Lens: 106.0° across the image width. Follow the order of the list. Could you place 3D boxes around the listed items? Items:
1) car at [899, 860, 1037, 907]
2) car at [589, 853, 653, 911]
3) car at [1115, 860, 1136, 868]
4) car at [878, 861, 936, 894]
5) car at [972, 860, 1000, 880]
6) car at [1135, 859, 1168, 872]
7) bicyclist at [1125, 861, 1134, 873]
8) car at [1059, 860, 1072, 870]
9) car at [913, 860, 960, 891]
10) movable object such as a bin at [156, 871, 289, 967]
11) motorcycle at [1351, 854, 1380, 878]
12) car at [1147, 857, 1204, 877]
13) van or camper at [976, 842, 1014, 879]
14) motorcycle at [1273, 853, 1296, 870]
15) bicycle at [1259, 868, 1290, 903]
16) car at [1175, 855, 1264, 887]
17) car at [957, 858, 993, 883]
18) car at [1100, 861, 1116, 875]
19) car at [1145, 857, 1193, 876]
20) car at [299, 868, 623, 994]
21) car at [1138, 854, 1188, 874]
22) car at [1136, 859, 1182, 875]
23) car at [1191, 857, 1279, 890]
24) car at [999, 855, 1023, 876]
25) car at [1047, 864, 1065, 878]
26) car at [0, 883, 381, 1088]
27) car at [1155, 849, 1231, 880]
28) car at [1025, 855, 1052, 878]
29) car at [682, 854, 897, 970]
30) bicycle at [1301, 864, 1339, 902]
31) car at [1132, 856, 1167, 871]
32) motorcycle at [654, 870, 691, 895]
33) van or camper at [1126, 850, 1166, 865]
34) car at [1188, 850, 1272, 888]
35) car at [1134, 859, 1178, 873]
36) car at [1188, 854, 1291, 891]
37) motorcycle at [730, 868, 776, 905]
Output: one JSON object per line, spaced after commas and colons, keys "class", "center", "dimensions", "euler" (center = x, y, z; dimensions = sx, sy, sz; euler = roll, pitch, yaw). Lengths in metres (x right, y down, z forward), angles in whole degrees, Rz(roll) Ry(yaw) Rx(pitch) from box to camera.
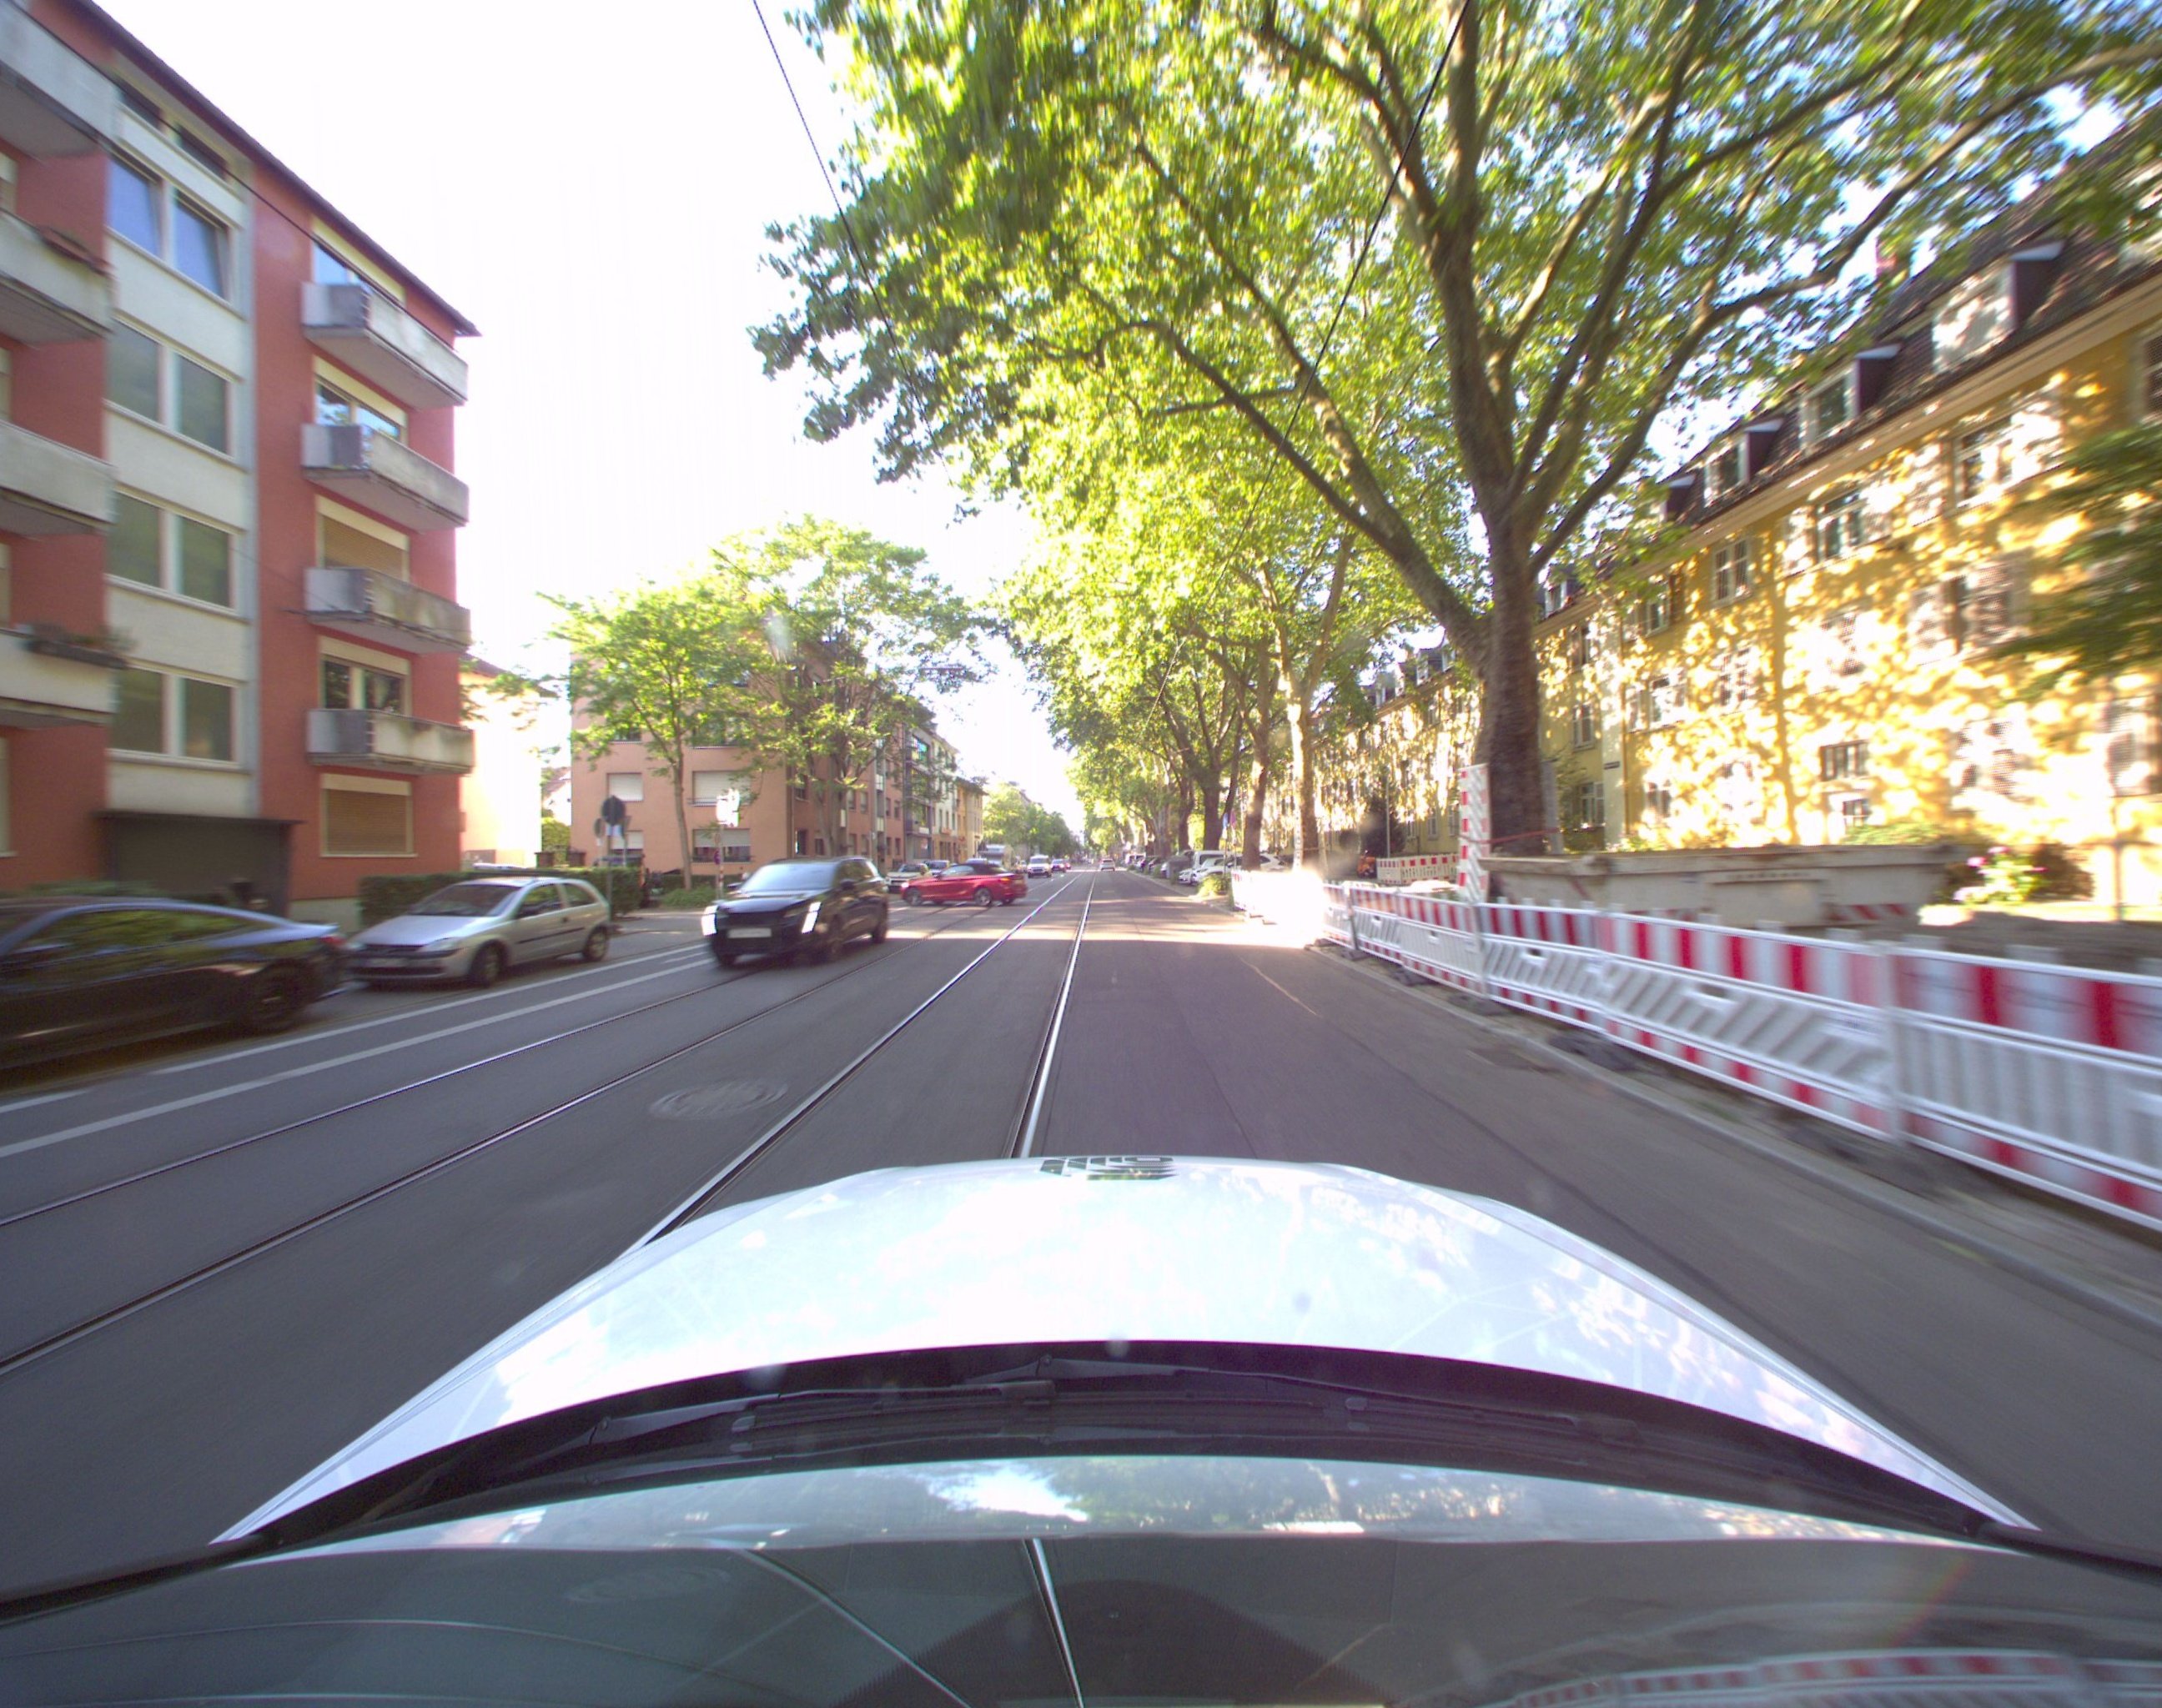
{"class": "car", "center": [-3.786, 0.958, 27.307], "dimensions": [4.185, 1.389, 1.809], "euler": [-1, 1, 23]}
{"class": "car", "center": [-18.345, 1.064, 32.645], "dimensions": [2.004, 2.123, 4.681], "euler": [0, -1, -27]}
{"class": "car", "center": [8.764, 1.899, 160.894], "dimensions": [3.972, 1.521, 2.000], "euler": [-1, -1, 1]}
{"class": "car", "center": [-8.573, 1.134, 40.391], "dimensions": [1.799, 1.478, 4.092], "euler": [1, -1, 2]}
{"class": "car", "center": [-7.733, 1.289, 66.537], "dimensions": [1.704, 1.488, 3.861], "euler": [2, 0, 0]}
{"class": "car", "center": [7.998, 1.268, 92.260], "dimensions": [3.636, 1.378, 1.890], "euler": [-1, -1, 1]}
{"class": "bicyclist", "center": [6.674, 1.793, 111.496], "dimensions": [1.045, 1.705, 1.055], "euler": [-1, -1, -8]}
{"class": "car", "center": [-2.221, 1.579, 117.183], "dimensions": [1.717, 1.437, 4.069], "euler": [-2, 0, 1]}
{"class": "car", "center": [-8.089, 1.169, 46.020], "dimensions": [1.775, 1.610, 4.587], "euler": [2, 0, 0]}
{"class": "movable object such as a bin", "center": [-12.888, 0.960, 12.256], "dimensions": [1.206, 1.365, 0.747], "euler": [-1, -1, 2]}
{"class": "motorcycle", "center": [14.348, 0.606, 41.144], "dimensions": [0.712, 1.153, 2.264], "euler": [-2, 0, 1]}
{"class": "car", "center": [7.376, 1.042, 63.982], "dimensions": [4.232, 1.484, 1.898], "euler": [-1, -1, 1]}
{"class": "van or camper", "center": [-7.648, 0.567, 73.053], "dimensions": [2.328, 3.041, 6.400], "euler": [2, 0, 2]}
{"class": "motorcycle", "center": [17.889, 0.665, 71.752], "dimensions": [1.798, 1.361, 0.622], "euler": [-4, -1, -2]}
{"class": "bicycle", "center": [6.305, 0.998, 26.601], "dimensions": [0.633, 1.070, 1.809], "euler": [-1, 0, 1]}
{"class": "car", "center": [7.016, 0.857, 41.611], "dimensions": [4.350, 1.542, 1.804], "euler": [-1, 0, 5]}
{"class": "car", "center": [-7.845, 1.189, 60.789], "dimensions": [1.946, 1.686, 5.070], "euler": [1, 0, 0]}
{"class": "car", "center": [3.265, 1.697, 99.660], "dimensions": [1.911, 1.584, 3.791], "euler": [-2, 0, 1]}
{"class": "car", "center": [7.350, 1.042, 67.891], "dimensions": [3.825, 1.509, 1.711], "euler": [-1, -1, 0]}
{"class": "car", "center": [-8.819, 0.994, 12.101], "dimensions": [1.719, 1.483, 3.930], "euler": [1, 0, 0]}
{"class": "car", "center": [7.490, 0.904, 74.395], "dimensions": [4.475, 1.602, 2.030], "euler": [-3, -1, 5]}
{"class": "car", "center": [7.539, 1.222, 79.002], "dimensions": [4.282, 1.439, 1.947], "euler": [-1, -1, 0]}
{"class": "car", "center": [7.067, 0.875, 37.621], "dimensions": [3.826, 1.433, 1.854], "euler": [-1, -1, 5]}
{"class": "car", "center": [-7.330, 1.196, 85.718], "dimensions": [1.946, 2.091, 5.247], "euler": [2, 0, -1]}
{"class": "car", "center": [-2.849, 1.939, 93.208], "dimensions": [1.769, 1.458, 4.203], "euler": [-2, 0, 1]}
{"class": "car", "center": [-9.074, 1.045, 6.871], "dimensions": [1.945, 1.395, 4.865], "euler": [2, 0, 2]}
{"class": "car", "center": [7.561, 0.726, 55.078], "dimensions": [4.822, 1.963, 2.064], "euler": [-1, -1, -2]}
{"class": "car", "center": [-3.539, 0.994, 68.312], "dimensions": [1.885, 1.832, 4.896], "euler": [-1, 0, 1]}
{"class": "car", "center": [-4.612, 0.821, 13.699], "dimensions": [1.846, 1.600, 4.466], "euler": [-1, 0, 2]}
{"class": "bicycle", "center": [7.701, 0.914, 26.358], "dimensions": [0.688, 1.154, 1.949], "euler": [-1, 0, 1]}
{"class": "car", "center": [7.960, 1.147, 94.486], "dimensions": [3.912, 1.670, 1.960], "euler": [-1, -1, -1]}
{"class": "motorcycle", "center": [-19.457, 1.323, 38.856], "dimensions": [0.692, 1.129, 2.067], "euler": [-1, 0, 1]}
{"class": "van or camper", "center": [9.483, 0.463, 118.526], "dimensions": [5.543, 2.013, 2.242], "euler": [-1, 2, -4]}
{"class": "car", "center": [7.173, 0.730, 39.584], "dimensions": [3.826, 1.772, 1.919], "euler": [-1, -1, 5]}
{"class": "car", "center": [8.015, 1.249, 87.390], "dimensions": [4.670, 1.446, 1.892], "euler": [-1, -1, 1]}
{"class": "car", "center": [6.816, 0.802, 35.258], "dimensions": [4.075, 1.521, 1.916], "euler": [-1, -1, 0]}
{"class": "motorcycle", "center": [-13.209, 1.287, 32.913], "dimensions": [0.899, 1.280, 2.348], "euler": [-1, 2, -1]}
